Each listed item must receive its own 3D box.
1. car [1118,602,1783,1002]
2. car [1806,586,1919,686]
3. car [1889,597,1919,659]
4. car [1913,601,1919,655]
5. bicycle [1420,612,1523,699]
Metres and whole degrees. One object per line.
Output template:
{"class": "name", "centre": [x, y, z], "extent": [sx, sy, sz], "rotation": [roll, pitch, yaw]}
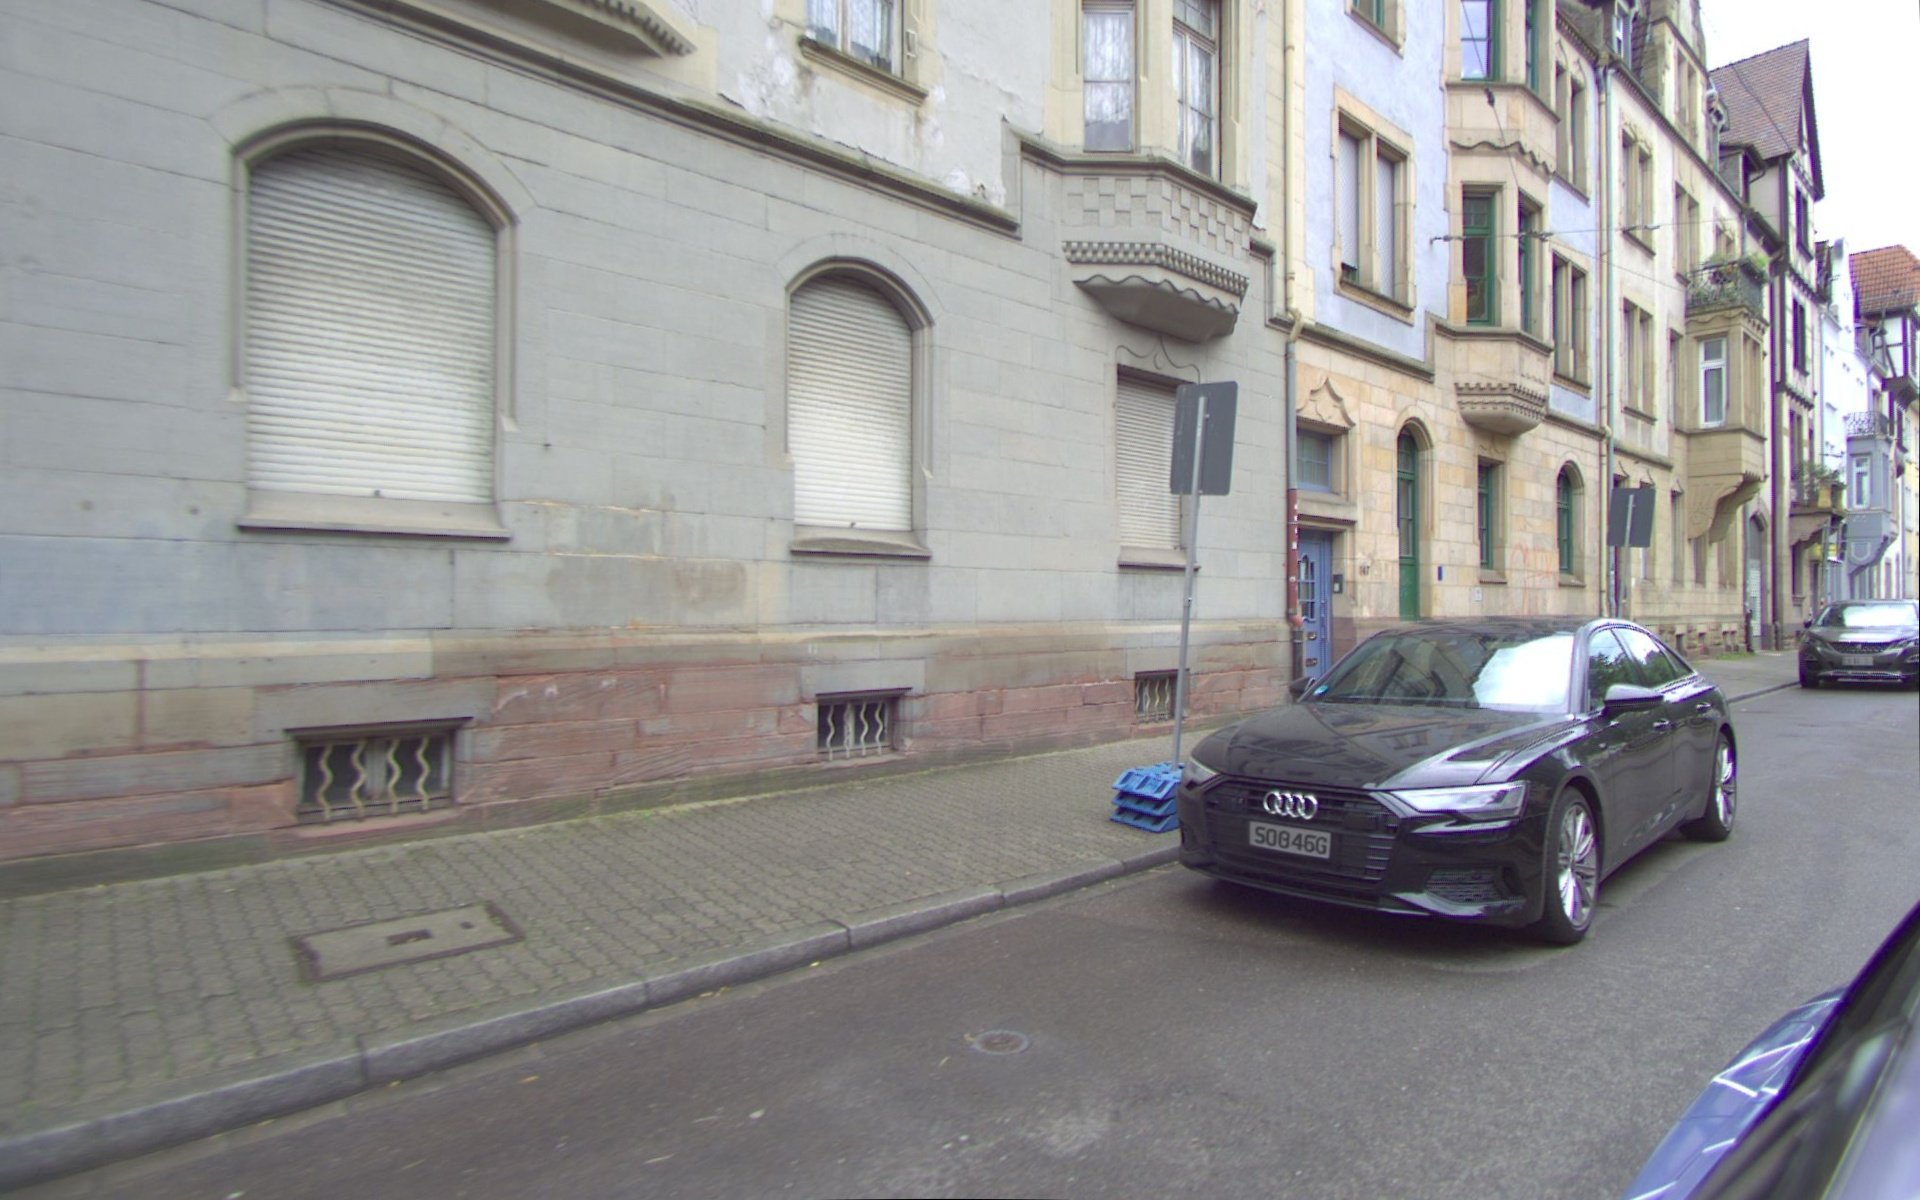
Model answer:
{"class": "car", "centre": [3.286, 0.754, 6.091], "extent": [5.106, 1.456, 1.803], "rotation": [0, -1, -42]}
{"class": "car", "centre": [17.080, 0.600, 18.619], "extent": [4.615, 1.643, 1.761], "rotation": [0, -1, -43]}
{"class": "car", "centre": [25.863, 0.689, 26.624], "extent": [4.345, 1.533, 1.699], "rotation": [0, -3, -43]}
{"class": "car", "centre": [29.573, 0.772, 29.884], "extent": [4.316, 1.533, 1.699], "rotation": [0, -3, -42]}
{"class": "bicycle", "centre": [7.278, 0.764, 14.362], "extent": [1.883, 1.141, 0.611], "rotation": [0, -4, -42]}
